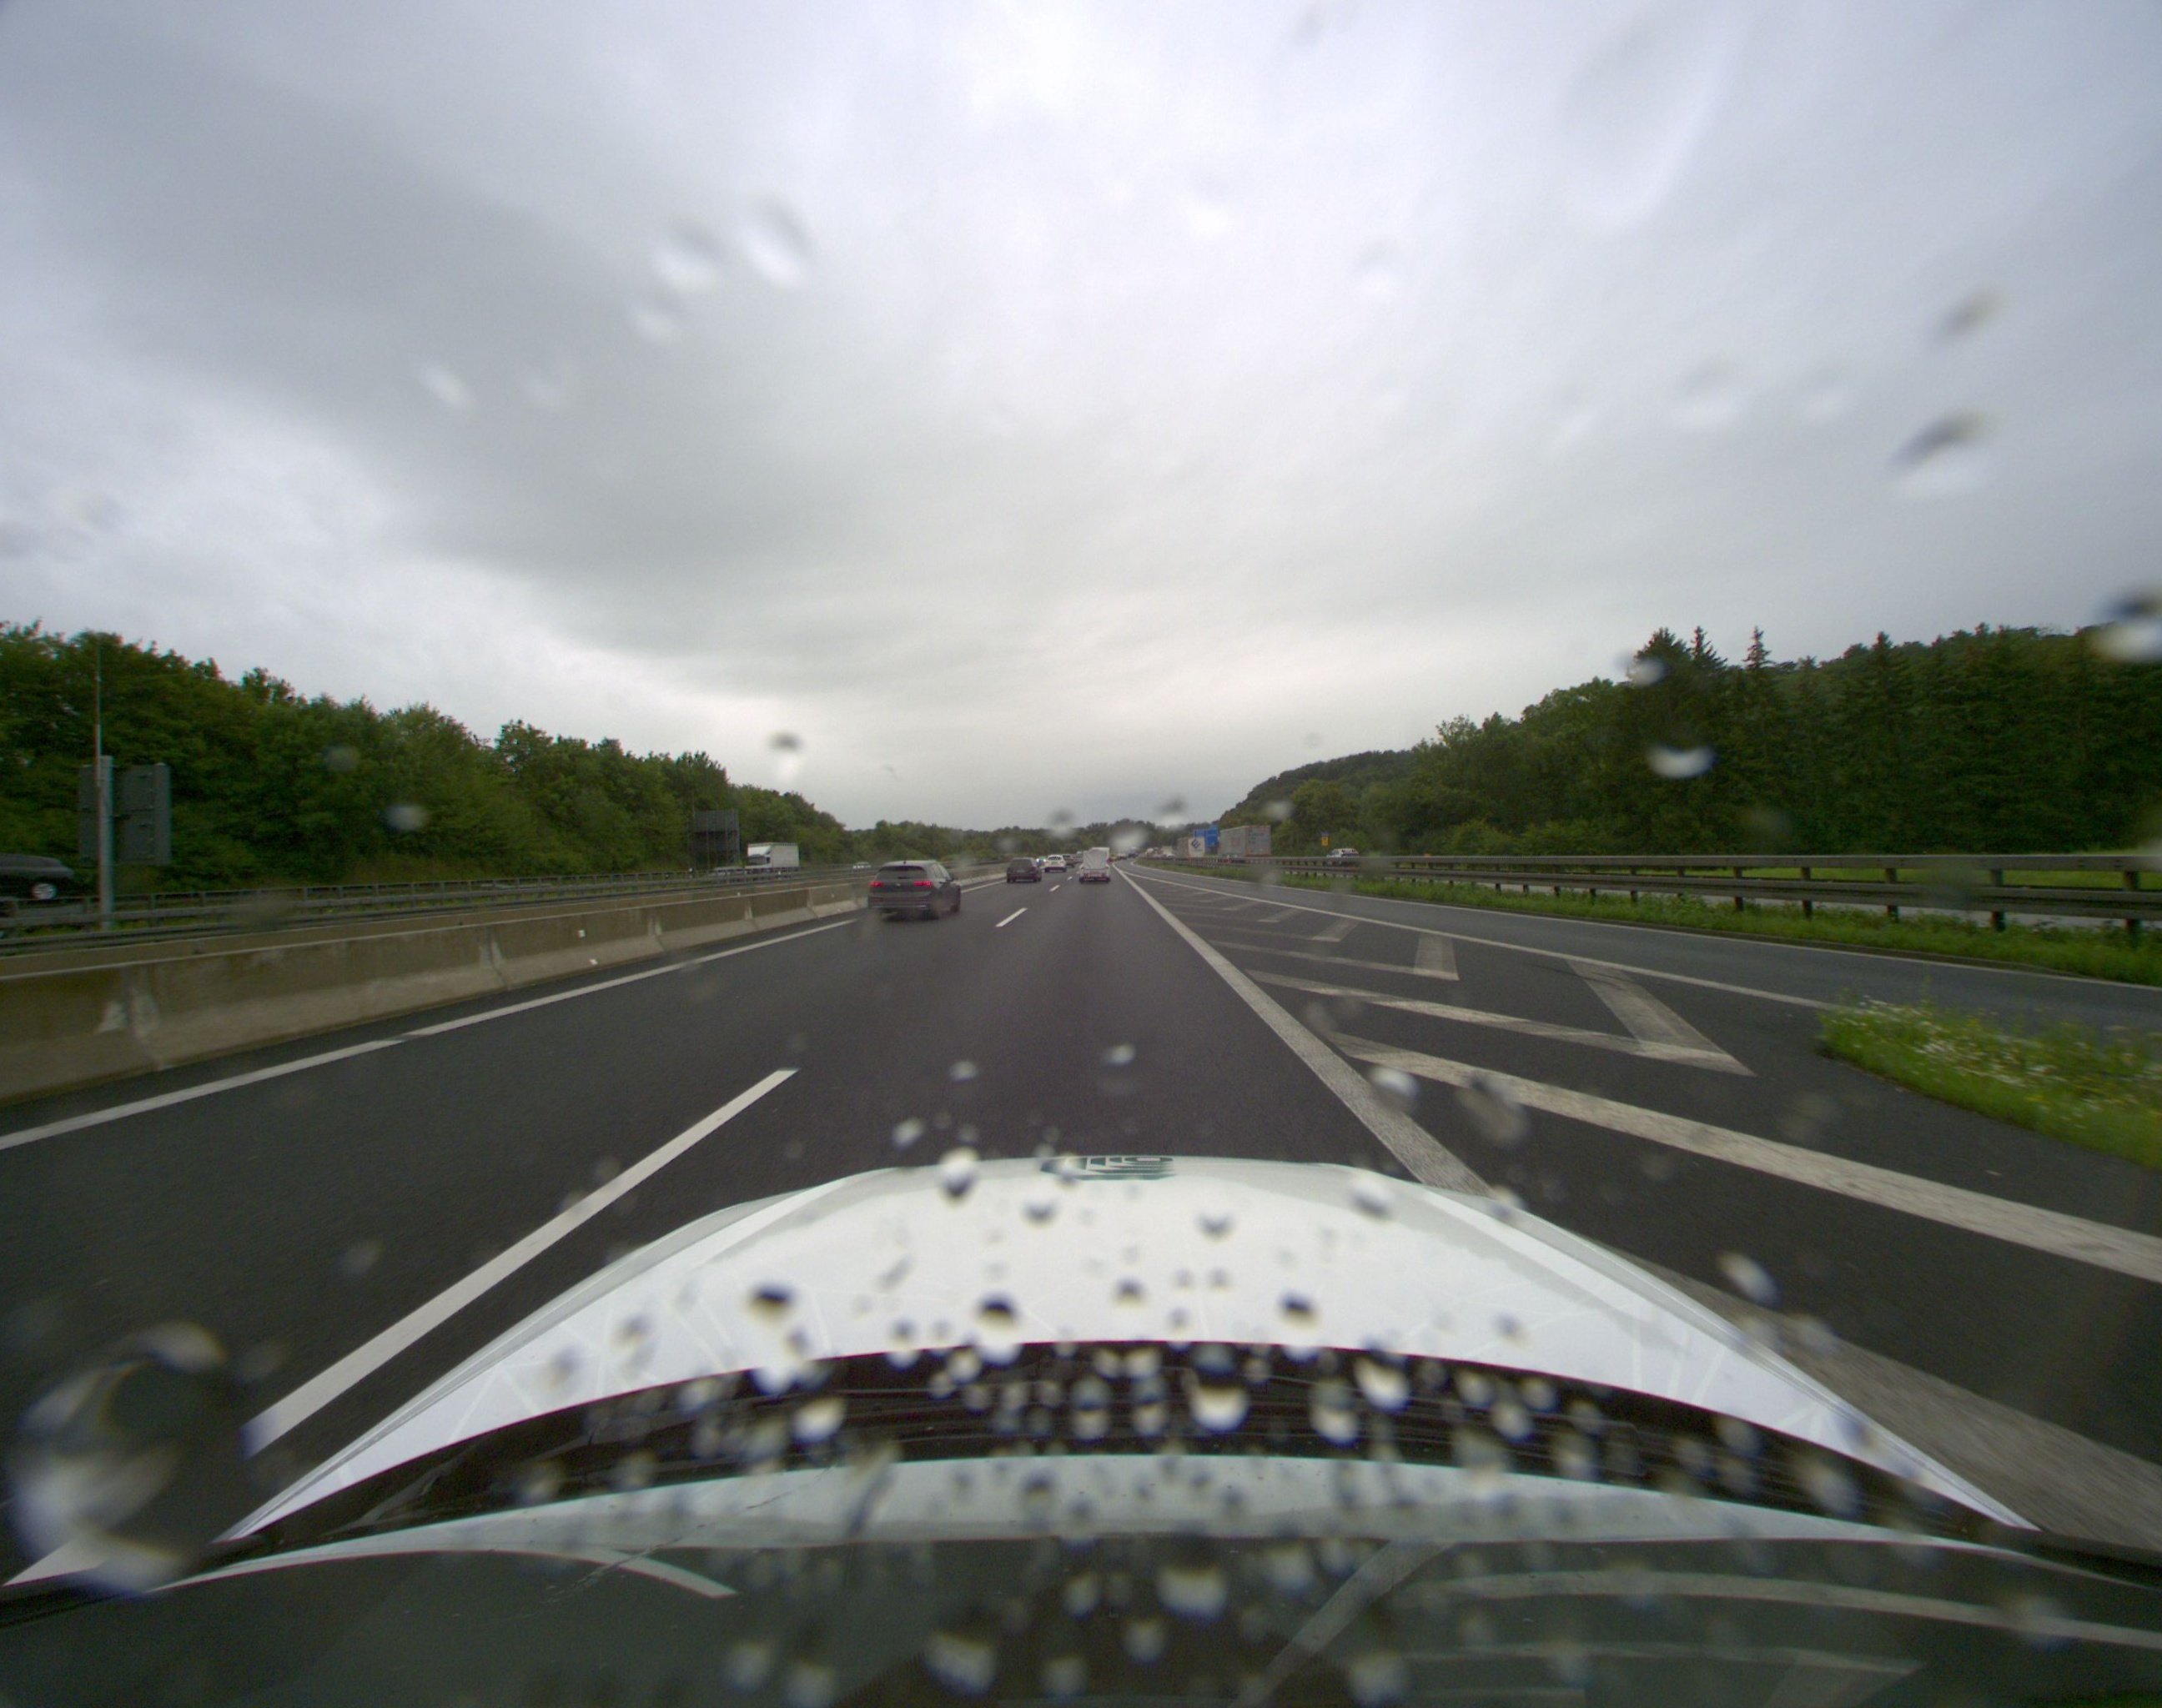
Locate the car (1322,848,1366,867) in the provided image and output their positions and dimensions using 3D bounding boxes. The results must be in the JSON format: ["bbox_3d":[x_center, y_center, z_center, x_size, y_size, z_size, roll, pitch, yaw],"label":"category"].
[{"bbox_3d":[21.612,0.278,67.182,1.814,1.504,5.028,-1,0,-2],"label":"car"}]

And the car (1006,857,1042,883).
[{"bbox_3d":[-3.342,0.909,48.479,1.782,1.459,4.801,-1,0,0],"label":"car"}]

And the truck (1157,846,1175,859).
[{"bbox_3d":[23.664,-0.379,225.966,3.816,3.659,8.264,0,0,-2],"label":"truck"}]

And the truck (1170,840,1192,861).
[{"bbox_3d":[17.203,-0.597,139.808,2.930,3.527,5.923,0,0,-2],"label":"truck"}]

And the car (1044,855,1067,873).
[{"bbox_3d":[-2.368,0.906,77.169,2.042,1.670,4.540,-1,0,0],"label":"car"}]

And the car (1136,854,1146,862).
[{"bbox_3d":[11.534,0.820,157.133,1.639,1.574,4.002,0,0,2],"label":"car"}]

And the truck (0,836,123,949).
[{"bbox_3d":[-31.401,1.105,21.067,2.503,3.145,8.852,-2,0,2],"label":"truck"}]

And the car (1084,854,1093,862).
[{"bbox_3d":[1.676,0.861,183.554,1.812,1.662,4.019,-1,0,2],"label":"car"}]

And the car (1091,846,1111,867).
[{"bbox_3d":[2.539,0.332,106.719,2.324,2.725,6.537,-1,0,-1],"label":"car"}]

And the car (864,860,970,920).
[{"bbox_3d":[-4.296,0.883,22.044,1.823,1.425,4.369,-1,0,2],"label":"car"}]

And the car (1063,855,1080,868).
[{"bbox_3d":[-1.220,0.969,104.884,1.969,1.703,4.803,0,0,1],"label":"car"}]

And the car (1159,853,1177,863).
[{"bbox_3d":[14.365,0.660,134.126,1.990,1.616,5.070,-2,0,-5],"label":"car"}]

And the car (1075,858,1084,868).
[{"bbox_3d":[-0.279,1.694,154.080,1.732,1.794,4.001,-1,0,1],"label":"car"}]

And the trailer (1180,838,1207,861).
[{"bbox_3d":[17.397,-0.687,126.743,3.068,3.527,8.082,0,0,0],"label":"trailer"}]

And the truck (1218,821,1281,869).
[{"bbox_3d":[17.808,-0.840,87.677,3.806,4.540,16.892,-1,0,2],"label":"truck"}]

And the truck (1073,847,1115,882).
[{"bbox_3d":[0.710,0.615,47.231,2.235,1.839,6.583,-1,-1,0],"label":"truck"}]

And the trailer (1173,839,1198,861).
[{"bbox_3d":[17.319,-0.646,134.984,2.930,3.527,8.415,0,0,-1],"label":"trailer"}]

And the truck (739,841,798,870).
[{"bbox_3d":[-33.283,0.205,87.108,2.730,2.872,8.542,-2,0,1],"label":"truck"}]
